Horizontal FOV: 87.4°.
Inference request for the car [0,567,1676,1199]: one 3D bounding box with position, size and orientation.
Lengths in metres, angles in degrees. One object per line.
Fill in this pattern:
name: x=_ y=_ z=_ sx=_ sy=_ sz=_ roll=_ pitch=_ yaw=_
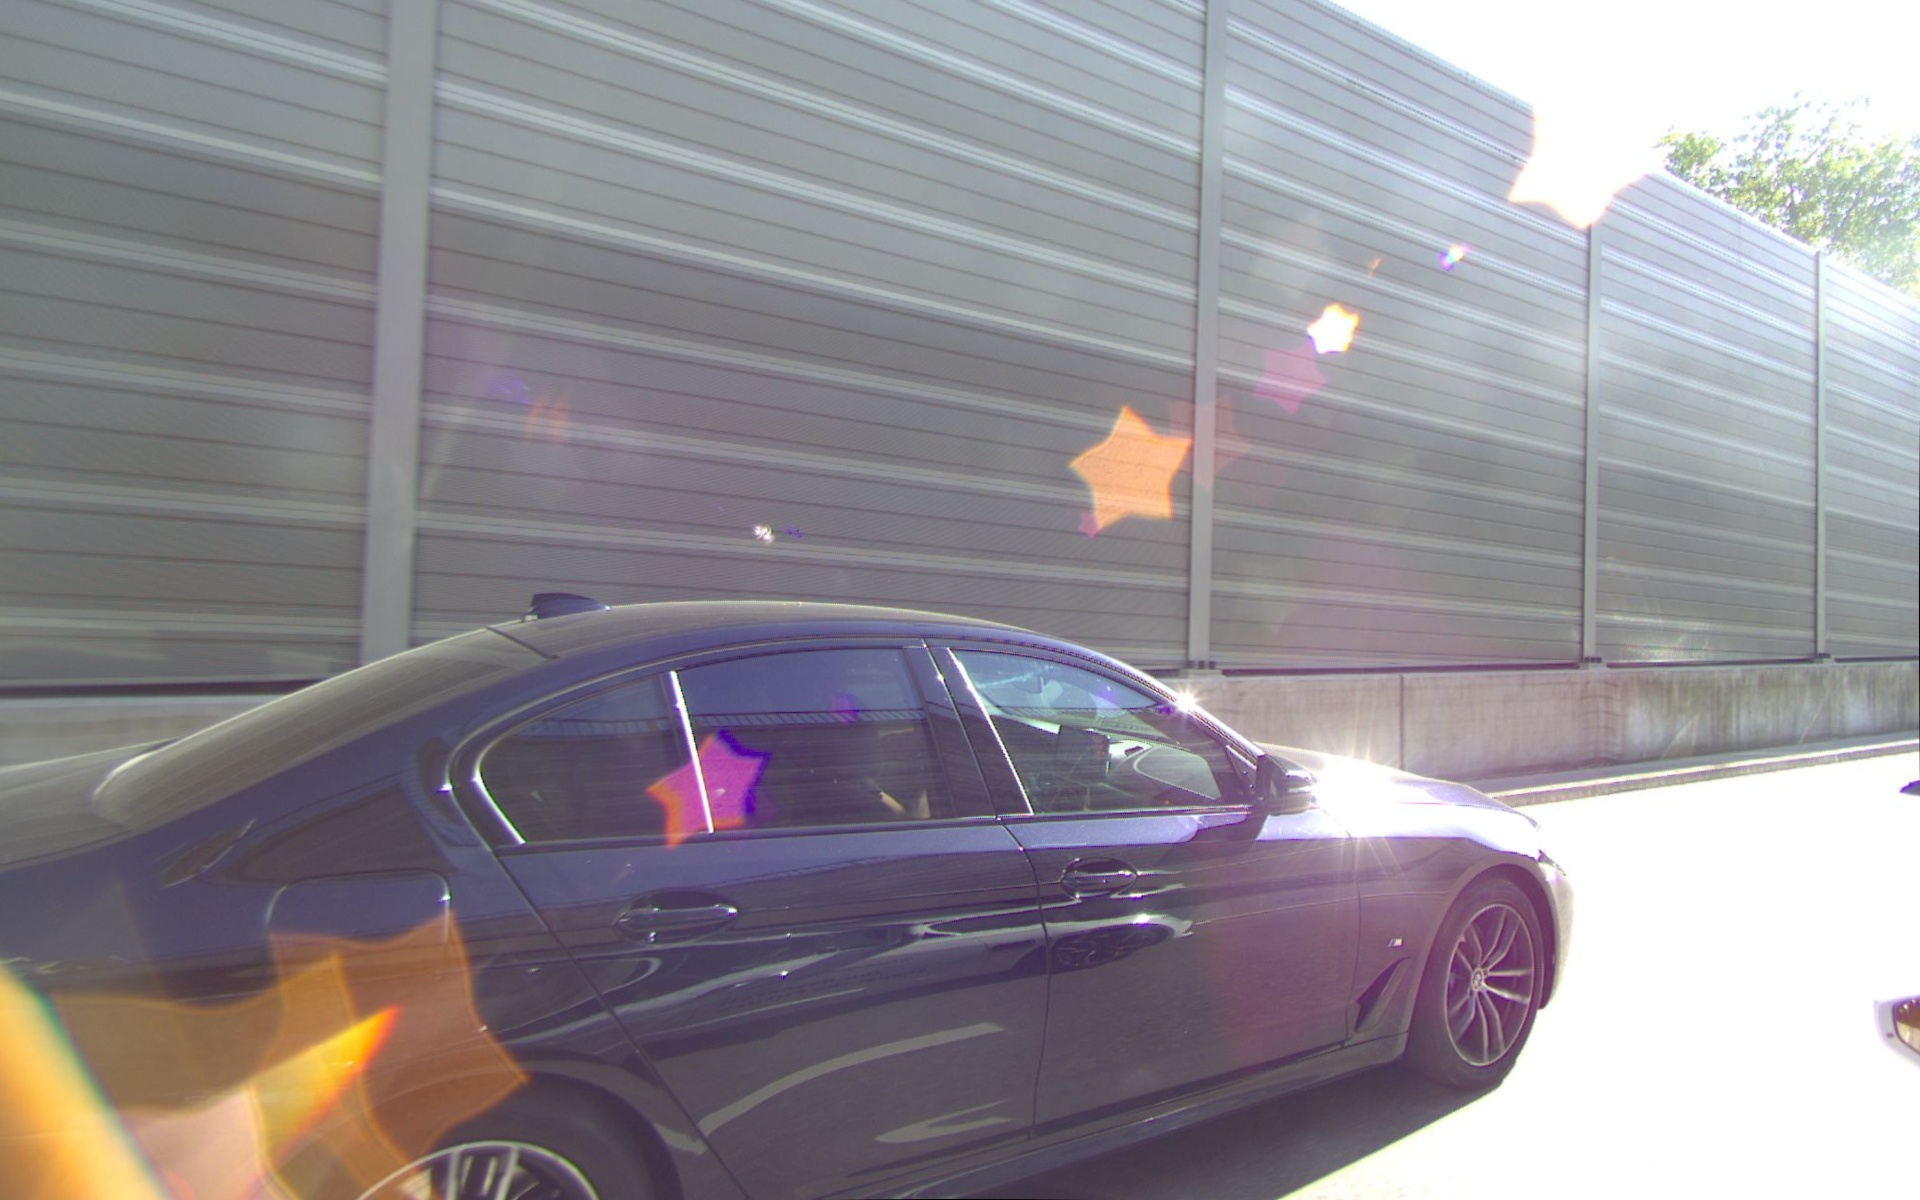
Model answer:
car: x=-0.096 y=0.761 z=3.018 sx=4.944 sy=1.458 sz=1.800 roll=3 pitch=-1 yaw=-30
